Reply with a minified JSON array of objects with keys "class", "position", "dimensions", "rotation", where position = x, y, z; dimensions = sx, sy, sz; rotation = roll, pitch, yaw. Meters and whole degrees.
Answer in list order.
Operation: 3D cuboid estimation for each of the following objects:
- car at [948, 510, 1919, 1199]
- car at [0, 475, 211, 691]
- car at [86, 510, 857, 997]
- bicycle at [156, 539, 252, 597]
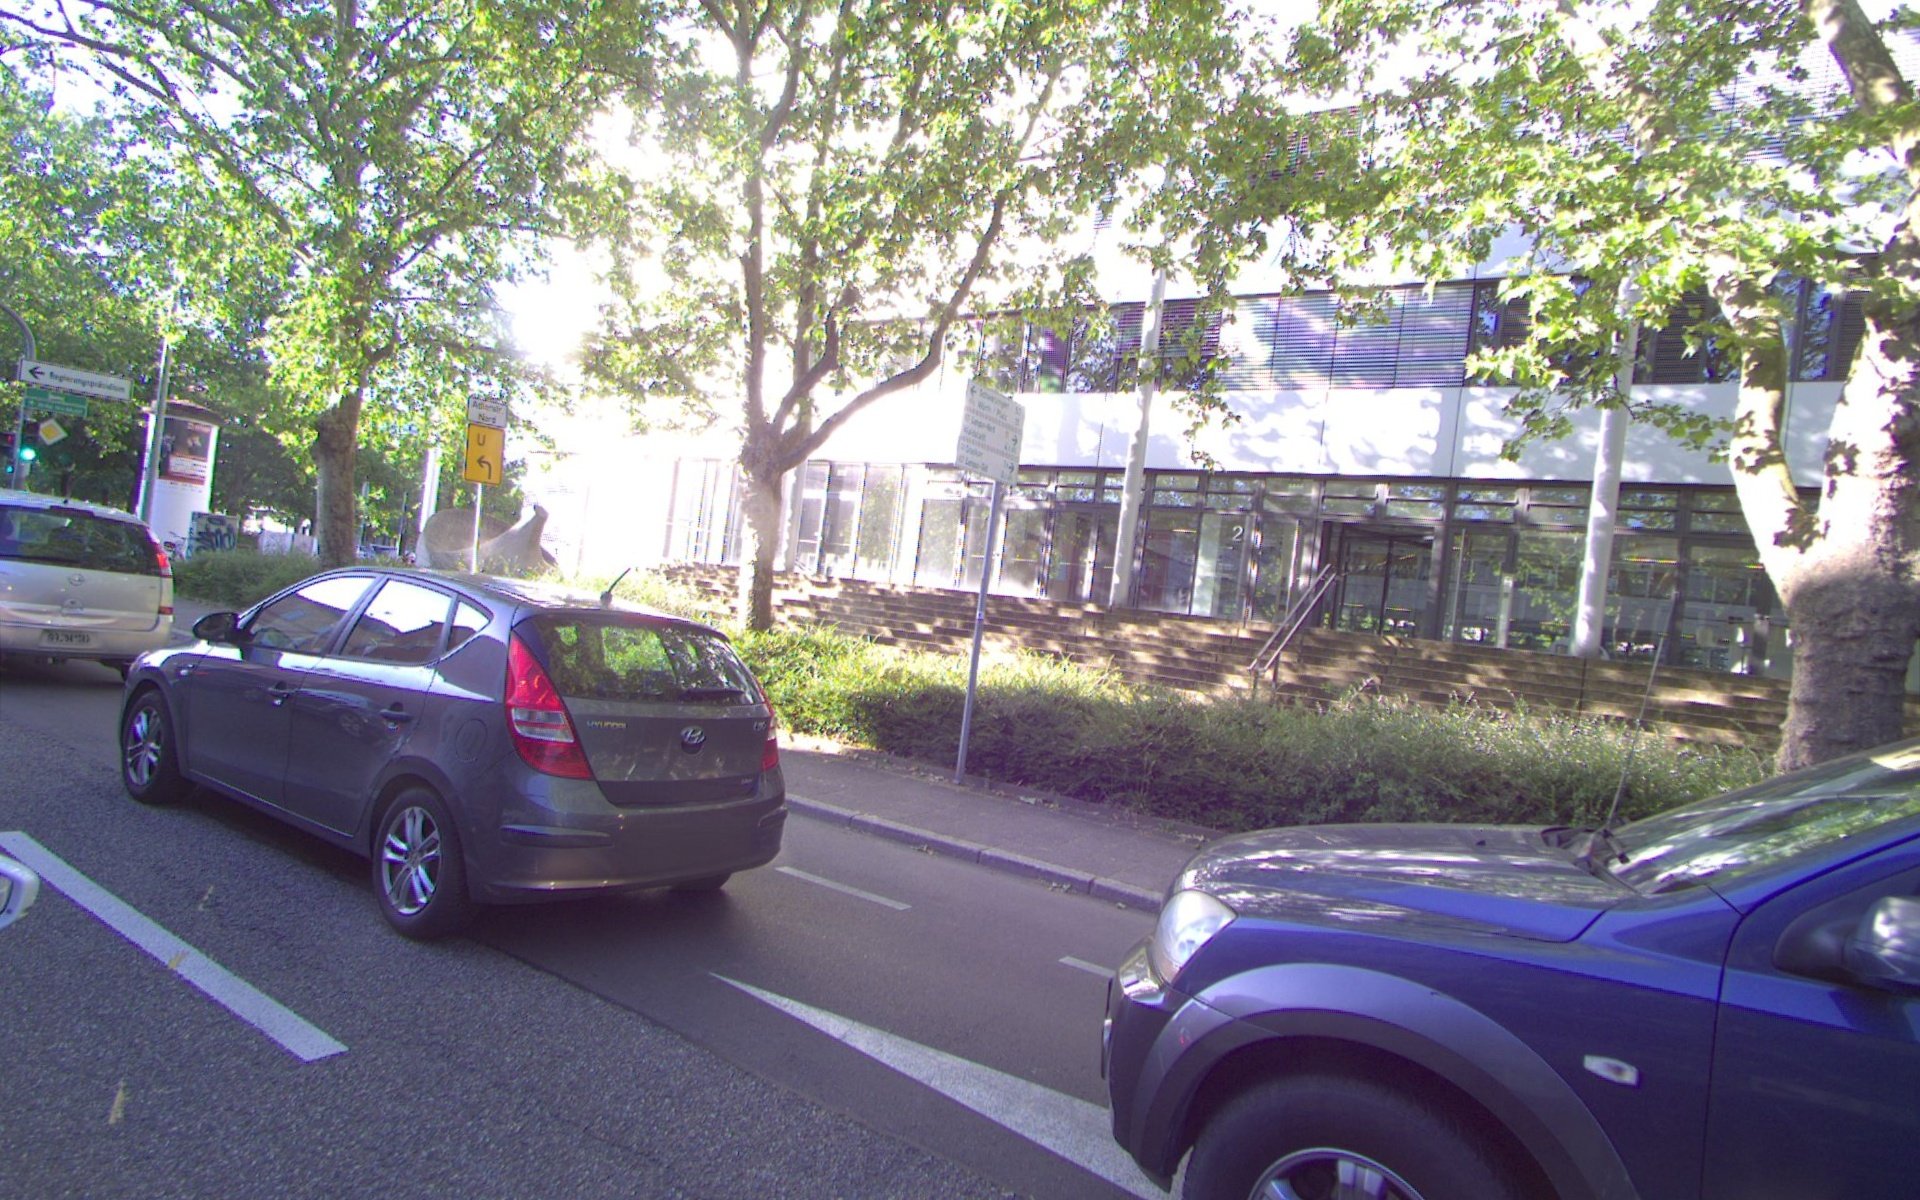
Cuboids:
[{"class":"car","position":[2.399,0.977,2.018],"dimensions":[4.407,1.784,1.865],"rotation":[7,-1,32]},{"class":"car","position":[-8.902,-0.259,9.378],"dimensions":[3.620,1.681,1.734],"rotation":[6,-2,32]},{"class":"car","position":[-2.703,0.530,5.331],"dimensions":[3.934,1.537,1.708],"rotation":[7,-1,32]},{"class":"bicycle","position":[-15.930,-0.640,21.258],"dimensions":[0.631,1.040,1.887],"rotation":[7,-2,-5]}]
